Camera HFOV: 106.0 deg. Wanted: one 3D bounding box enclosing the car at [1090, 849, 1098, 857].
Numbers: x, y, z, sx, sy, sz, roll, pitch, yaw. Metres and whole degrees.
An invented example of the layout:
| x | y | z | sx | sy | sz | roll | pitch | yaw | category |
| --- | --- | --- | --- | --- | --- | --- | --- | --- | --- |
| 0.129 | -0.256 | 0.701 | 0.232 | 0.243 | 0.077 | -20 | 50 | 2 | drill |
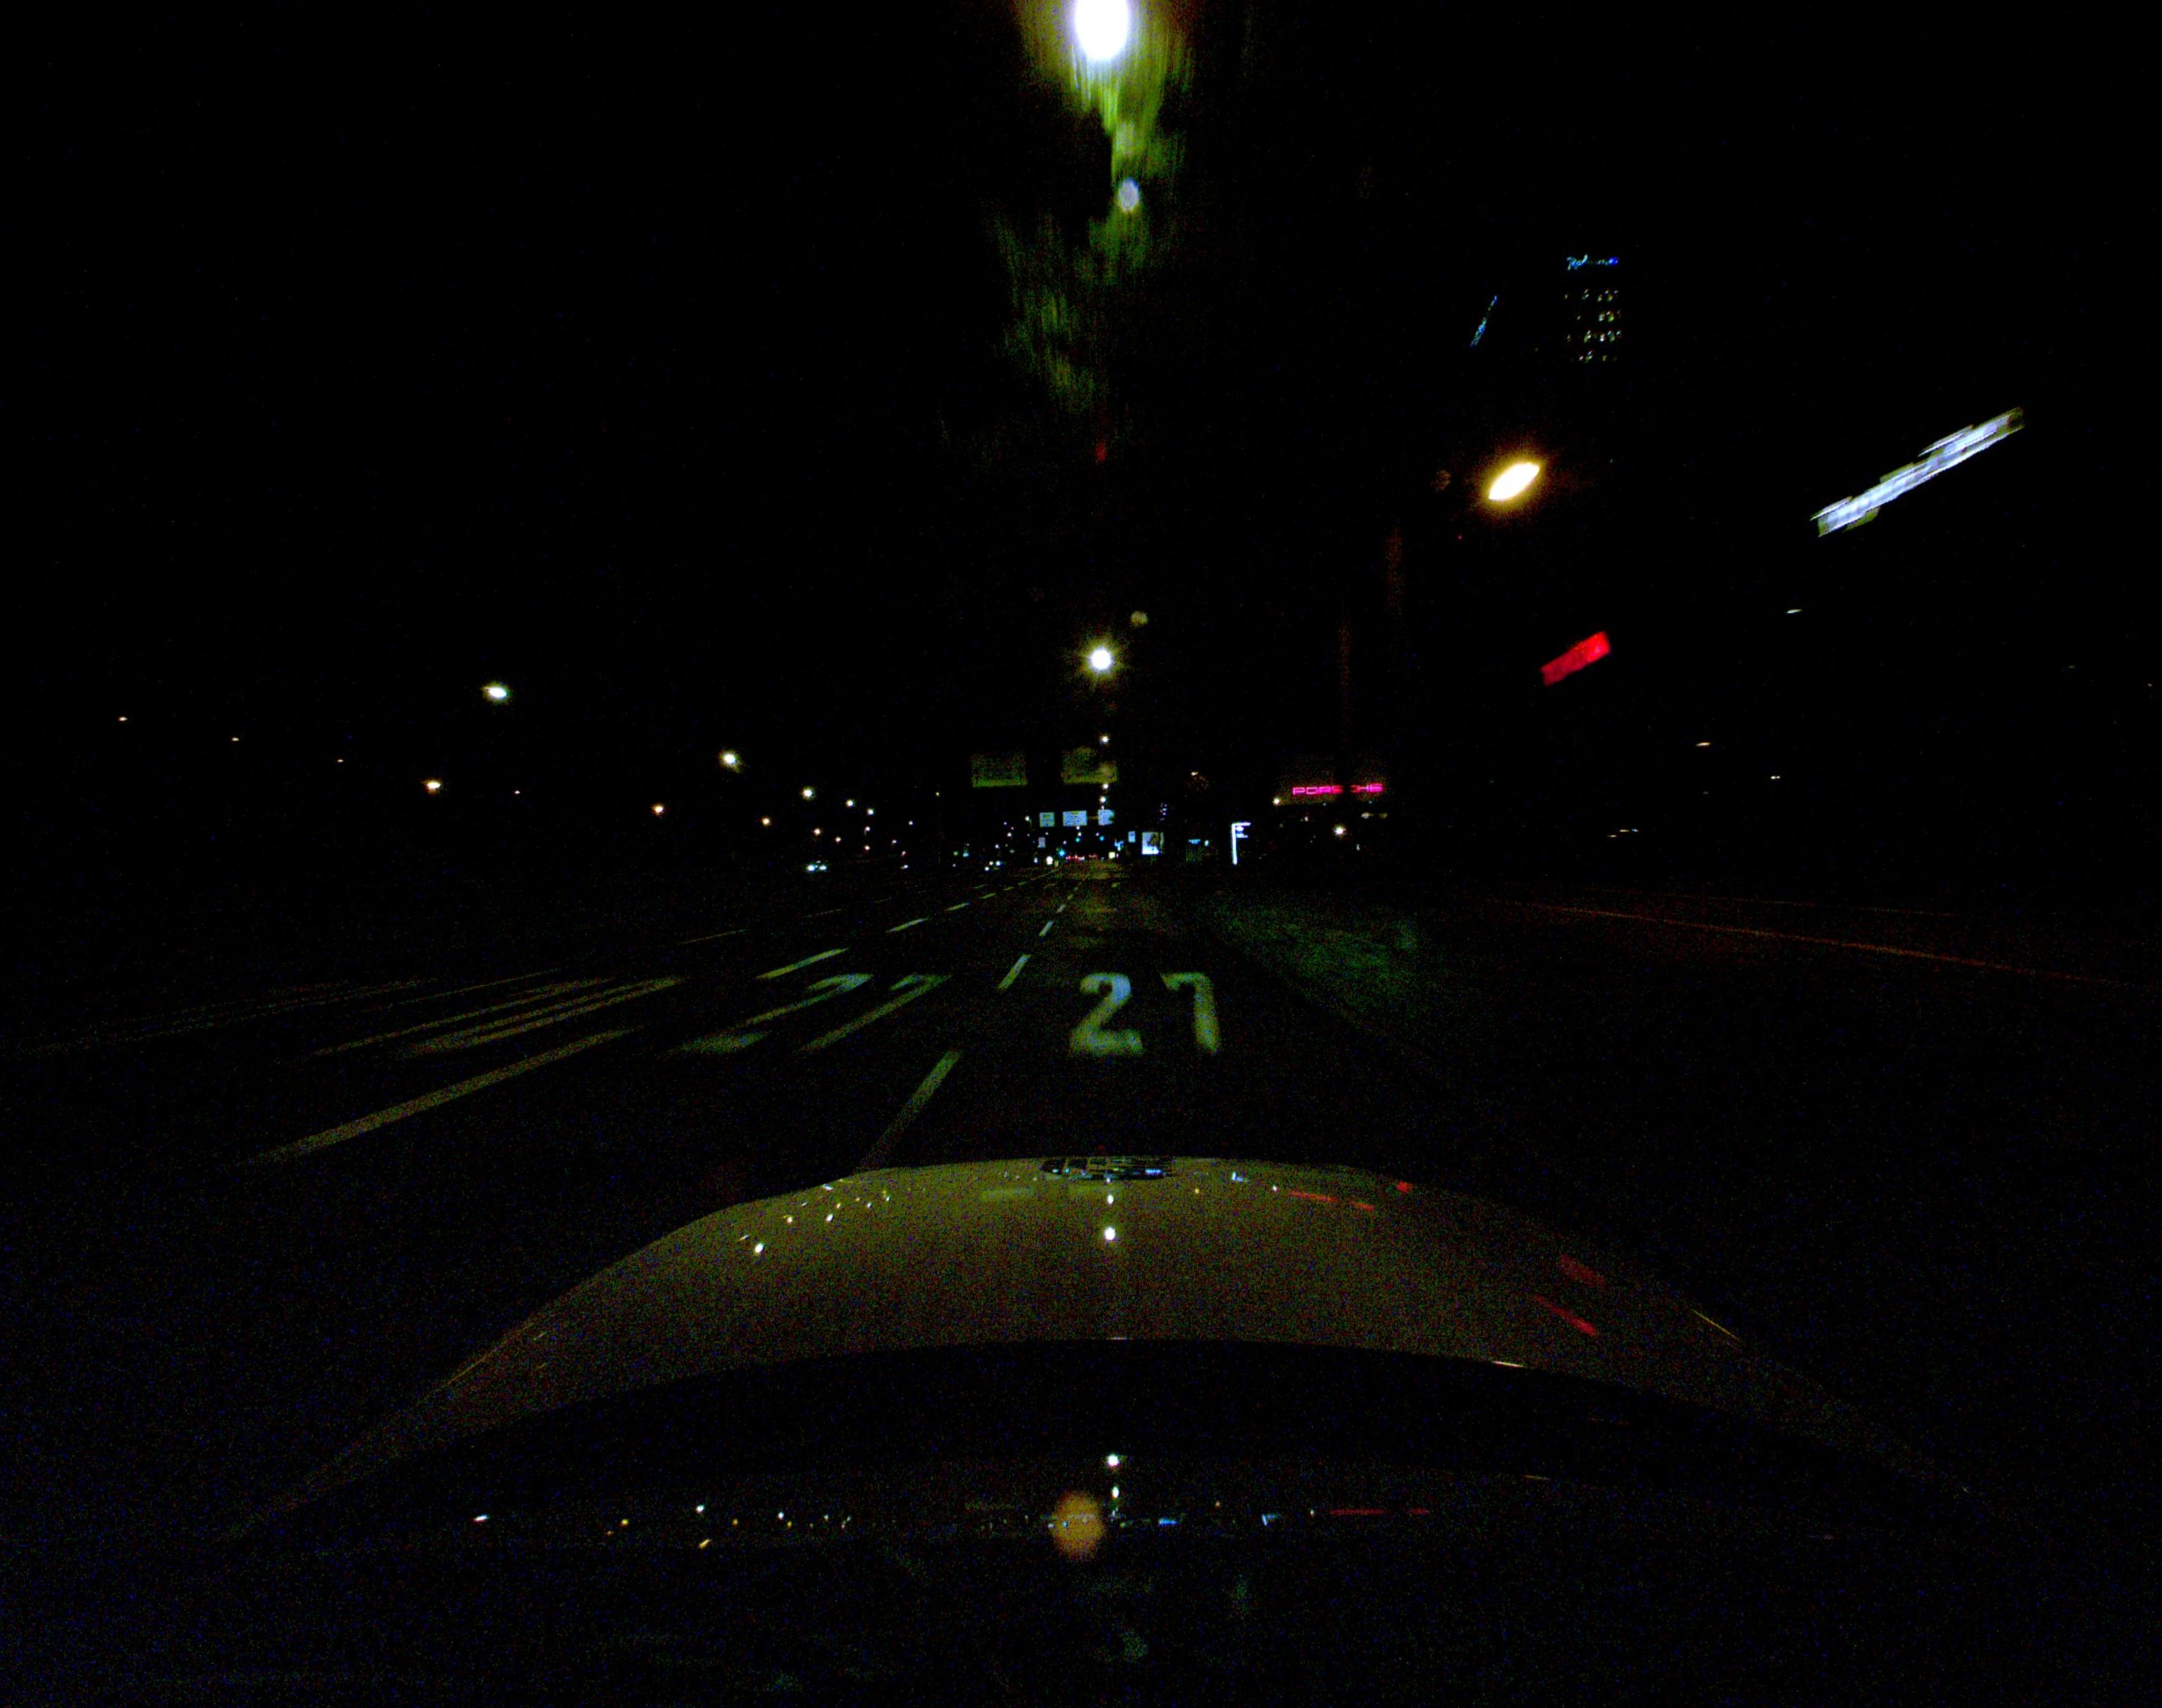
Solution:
| x | y | z | sx | sy | sz | roll | pitch | yaw | category |
| --- | --- | --- | --- | --- | --- | --- | --- | --- | --- |
| 3.328 | -0.243 | 204.997 | 1.986 | 2.014 | 4.001 | -1 | -1 | 1 | car |

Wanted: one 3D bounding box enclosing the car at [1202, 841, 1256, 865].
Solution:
| x | y | z | sx | sy | sz | roll | pitch | yaw | category |
| --- | --- | --- | --- | --- | --- | --- | --- | --- | --- |
| 11.986 | -0.035 | 66.026 | 3.976 | 1.856 | 1.820 | -1 | -2 | -2 | car |

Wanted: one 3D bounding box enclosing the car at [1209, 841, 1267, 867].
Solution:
| x | y | z | sx | sy | sz | roll | pitch | yaw | category |
| --- | --- | --- | --- | --- | --- | --- | --- | --- | --- |
| 11.754 | -0.014 | 61.235 | 3.976 | 1.856 | 1.820 | -1 | -2 | -2 | car |

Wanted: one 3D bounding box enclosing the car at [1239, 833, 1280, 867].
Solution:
| x | y | z | sx | sy | sz | roll | pitch | yaw | category |
| --- | --- | --- | --- | --- | --- | --- | --- | --- | --- |
| 11.065 | -0.202 | 50.387 | 1.977 | 1.945 | 4.019 | -1 | -1 | 19 | car |

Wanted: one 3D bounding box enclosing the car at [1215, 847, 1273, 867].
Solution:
| x | y | z | sx | sy | sz | roll | pitch | yaw | category |
| --- | --- | --- | --- | --- | --- | --- | --- | --- | --- |
| 11.729 | 0.238 | 58.688 | 3.813 | 1.411 | 1.710 | -1 | -1 | -1 | car |

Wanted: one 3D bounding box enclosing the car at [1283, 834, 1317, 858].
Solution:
| x | y | z | sx | sy | sz | roll | pitch | yaw | category |
| --- | --- | --- | --- | --- | --- | --- | --- | --- | --- |
| 15.300 | -0.550 | 57.098 | 1.881 | 1.511 | 3.645 | -1 | -1 | 9 | car |

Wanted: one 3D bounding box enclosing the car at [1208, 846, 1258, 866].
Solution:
| x | y | z | sx | sy | sz | roll | pitch | yaw | category |
| --- | --- | --- | --- | --- | --- | --- | --- | --- | --- |
| 11.873 | 0.142 | 63.726 | 3.501 | 1.508 | 1.734 | -1 | -1 | -2 | car |

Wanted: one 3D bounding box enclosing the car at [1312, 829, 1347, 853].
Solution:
| x | y | z | sx | sy | sz | roll | pitch | yaw | category |
| --- | --- | --- | --- | --- | --- | --- | --- | --- | --- |
| 17.738 | -0.908 | 58.376 | 1.881 | 1.511 | 3.645 | -1 | -1 | 9 | car |

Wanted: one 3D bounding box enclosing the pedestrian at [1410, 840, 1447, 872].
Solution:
| x | y | z | sx | sy | sz | roll | pitch | yaw | category |
| --- | --- | --- | --- | --- | --- | --- | --- | --- | --- |
| 11.991 | 0.080 | 28.125 | 0.776 | 1.038 | 0.902 | -2 | -1 | -45 | pedestrian |

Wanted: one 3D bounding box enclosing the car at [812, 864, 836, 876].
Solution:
| x | y | z | sx | sy | sz | roll | pitch | yaw | category |
| --- | --- | --- | --- | --- | --- | --- | --- | --- | --- |
| -31.118 | 1.953 | 98.597 | 1.619 | 1.481 | 3.681 | -1 | -1 | 3 | car |

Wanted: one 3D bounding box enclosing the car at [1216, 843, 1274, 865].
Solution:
| x | y | z | sx | sy | sz | roll | pitch | yaw | category |
| --- | --- | --- | --- | --- | --- | --- | --- | --- | --- |
| 11.258 | 0.015 | 55.940 | 3.615 | 1.451 | 1.706 | -1 | -1 | -2 | car |

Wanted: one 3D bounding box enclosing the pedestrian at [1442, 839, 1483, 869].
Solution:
| x | y | z | sx | sy | sz | roll | pitch | yaw | category |
| --- | --- | --- | --- | --- | --- | --- | --- | --- | --- |
| 13.146 | 0.001 | 28.082 | 0.999 | 1.008 | 0.768 | 0 | -2 | -14 | pedestrian |

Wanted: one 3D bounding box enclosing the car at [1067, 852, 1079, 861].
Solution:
| x | y | z | sx | sy | sz | roll | pitch | yaw | category |
| --- | --- | --- | --- | --- | --- | --- | --- | --- | --- |
| -1.556 | 0.600 | 162.621 | 1.959 | 1.711 | 4.004 | -1 | -1 | 4 | car |

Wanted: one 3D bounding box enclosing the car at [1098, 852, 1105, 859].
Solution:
| x | y | z | sx | sy | sz | roll | pitch | yaw | category |
| --- | --- | --- | --- | --- | --- | --- | --- | --- | --- |
| 6.194 | 0.481 | 245.904 | 1.831 | 1.838 | 4.001 | -1 | -1 | 1 | car |

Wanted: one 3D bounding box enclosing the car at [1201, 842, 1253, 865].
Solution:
| x | y | z | sx | sy | sz | roll | pitch | yaw | category |
| --- | --- | --- | --- | --- | --- | --- | --- | --- | --- |
| 12.188 | -0.031 | 68.247 | 3.976 | 1.856 | 1.820 | -1 | -2 | -2 | car |

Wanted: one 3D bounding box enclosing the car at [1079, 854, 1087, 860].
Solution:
| x | y | z | sx | sy | sz | roll | pitch | yaw | category |
| --- | --- | --- | --- | --- | --- | --- | --- | --- | --- |
| 0.467 | 0.864 | 226.951 | 1.986 | 1.596 | 4.001 | -2 | -1 | 2 | car |
